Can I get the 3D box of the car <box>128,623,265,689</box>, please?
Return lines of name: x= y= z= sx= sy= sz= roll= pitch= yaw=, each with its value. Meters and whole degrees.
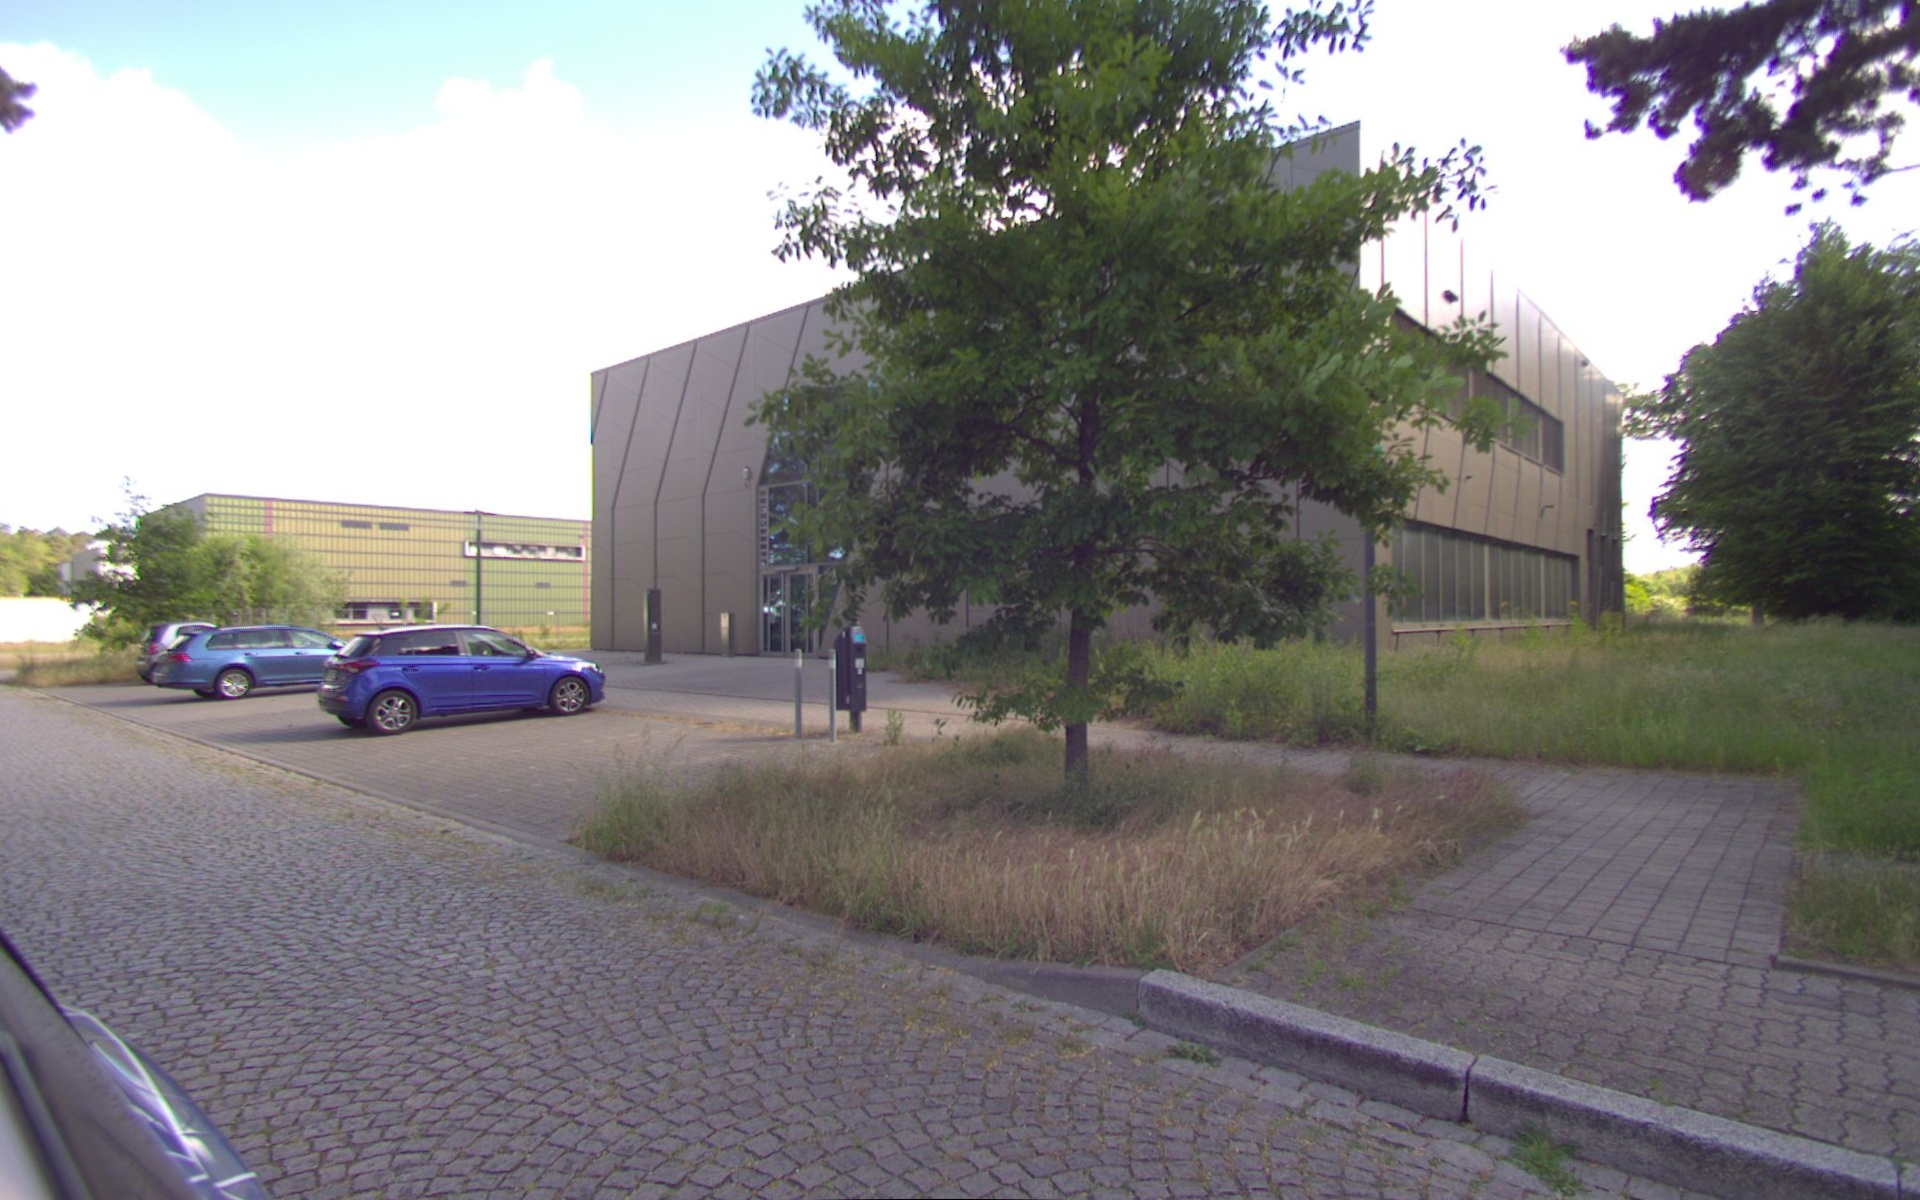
car: x=-20.118 y=1.435 z=26.722 sx=1.480 sy=1.580 sz=2.619 roll=-2 pitch=0 yaw=40

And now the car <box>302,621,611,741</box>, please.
car: x=-7.580 y=1.124 z=15.484 sx=1.735 sy=1.479 sz=3.865 roll=-2 pitch=0 yaw=43

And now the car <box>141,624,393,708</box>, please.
car: x=-14.715 y=1.326 z=21.679 sx=1.733 sy=1.485 sz=4.128 roll=-2 pitch=0 yaw=39
